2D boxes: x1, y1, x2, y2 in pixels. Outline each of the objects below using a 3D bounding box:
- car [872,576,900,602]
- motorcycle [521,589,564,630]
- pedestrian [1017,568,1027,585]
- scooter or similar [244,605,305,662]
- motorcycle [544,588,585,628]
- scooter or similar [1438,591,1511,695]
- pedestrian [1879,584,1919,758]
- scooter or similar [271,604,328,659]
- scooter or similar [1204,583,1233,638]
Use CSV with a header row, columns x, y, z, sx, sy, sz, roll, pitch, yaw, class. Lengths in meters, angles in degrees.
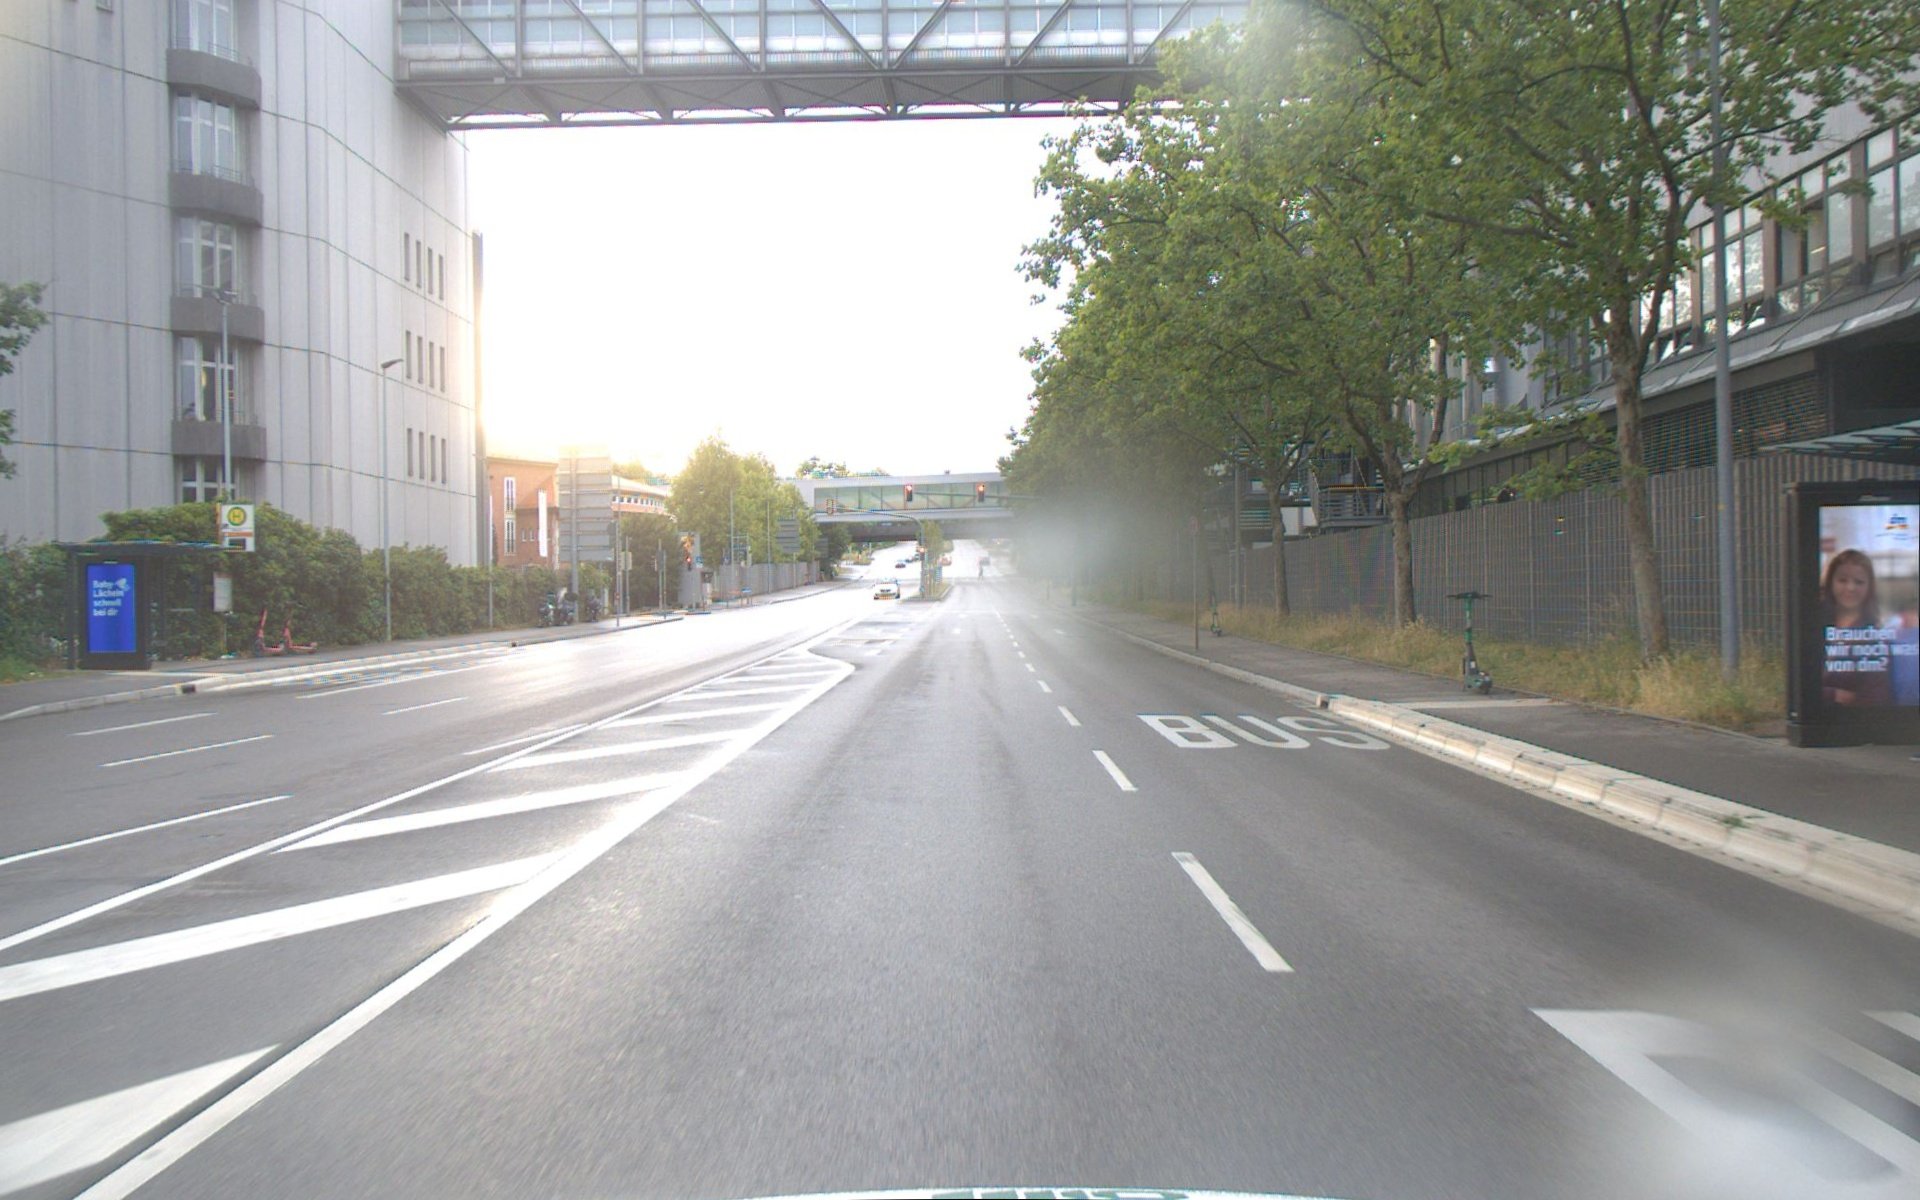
x,y,z,sx,sy,sz,roll,pitch,yaw,class
-5.321,-0.783,119.068,1.954,1.803,3.998,-1,0,-3,car
-16.262,0.347,64.528,0.895,1.559,3.298,-1,1,-2,motorcycle
7.624,-2.913,204.866,1.034,2.049,1.152,-1,0,11,pedestrian
-16.043,0.771,38.739,0.513,1.274,1.800,-1,0,5,scooter or similar
-16.343,0.317,68.422,0.939,1.583,3.298,-1,1,-2,motorcycle
6.636,0.527,21.398,0.684,1.266,1.923,-1,0,12,scooter or similar
7.895,0.538,13.034,0.930,1.340,0.686,-1,0,6,pedestrian
-16.254,0.760,40.740,0.487,1.274,1.922,-1,0,5,scooter or similar
6.765,0.261,43.383,0.596,1.390,1.922,-1,0,5,scooter or similar
